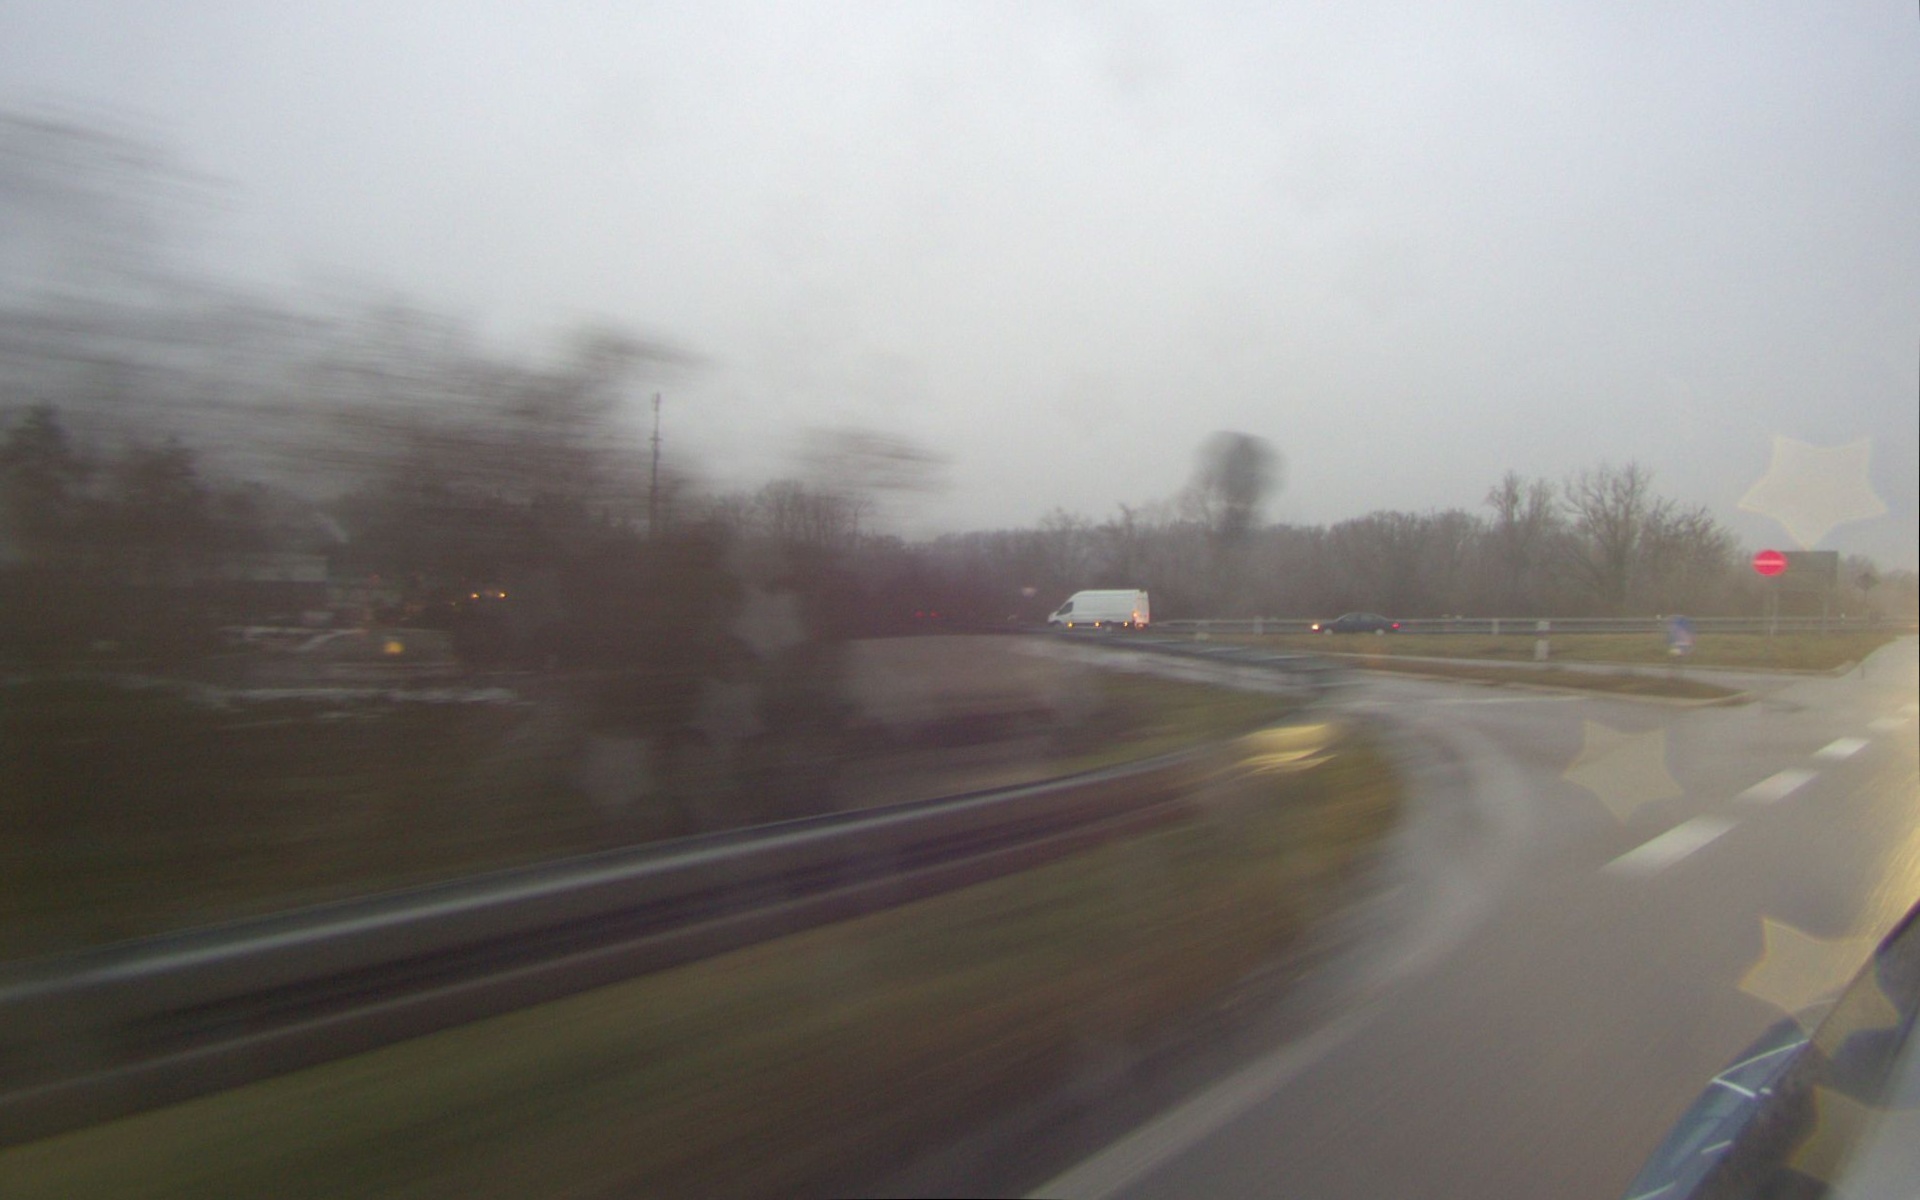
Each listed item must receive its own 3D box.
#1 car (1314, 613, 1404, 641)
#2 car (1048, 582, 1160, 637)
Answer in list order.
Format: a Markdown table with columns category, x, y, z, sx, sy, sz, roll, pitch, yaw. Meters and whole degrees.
| category | x | y | z | sx | sy | sz | roll | pitch | yaw |
| --- | --- | --- | --- | --- | --- | --- | --- | --- | --- |
| car | 21.377 | 1.435 | 54.346 | 4.317 | 1.433 | 1.732 | 0 | -2 | 17 |
| car | 8.738 | 0.542 | 61.784 | 6.352 | 3.004 | 2.259 | 2 | -1 | 36 |
